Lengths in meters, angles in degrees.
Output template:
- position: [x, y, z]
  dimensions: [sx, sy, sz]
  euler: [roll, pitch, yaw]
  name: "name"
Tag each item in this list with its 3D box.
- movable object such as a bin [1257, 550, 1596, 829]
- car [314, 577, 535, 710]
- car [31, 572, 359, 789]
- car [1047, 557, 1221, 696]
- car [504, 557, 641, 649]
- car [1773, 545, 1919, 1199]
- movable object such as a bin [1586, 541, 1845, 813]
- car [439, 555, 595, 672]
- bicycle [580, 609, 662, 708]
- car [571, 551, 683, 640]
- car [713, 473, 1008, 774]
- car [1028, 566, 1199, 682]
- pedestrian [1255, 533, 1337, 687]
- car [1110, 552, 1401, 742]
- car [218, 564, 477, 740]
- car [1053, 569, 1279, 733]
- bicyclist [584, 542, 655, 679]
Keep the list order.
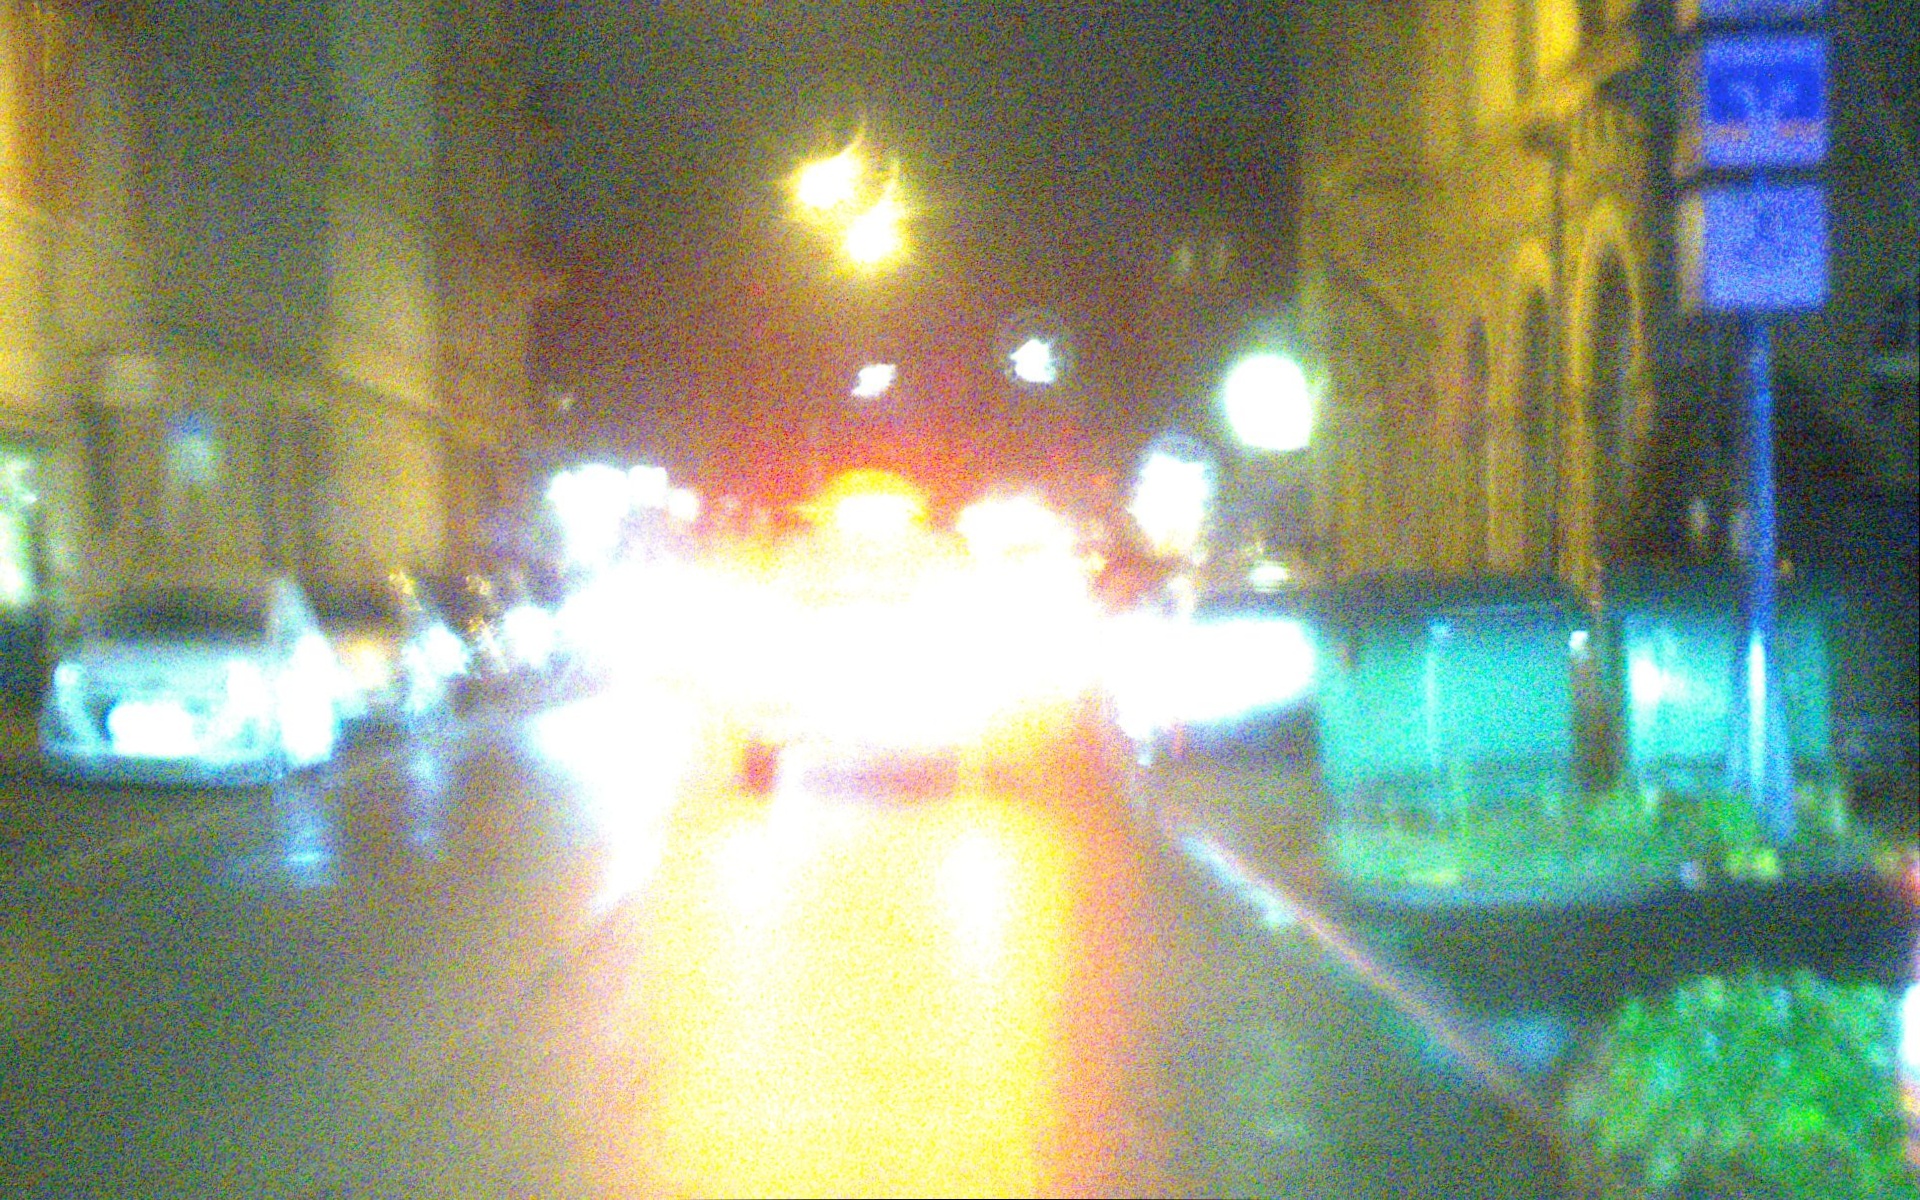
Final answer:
- position: [2.495, 0.447, 18.418]
  dimensions: [1.337, 1.424, 1.201]
  euler: [0, 1, -37]
  name: "movable object such as a bin"
- position: [-5.899, 0.440, 38.315]
  dimensions: [1.822, 1.385, 4.426]
  euler: [0, 1, -1]
  name: "car"
- position: [-5.689, 0.547, 25.981]
  dimensions: [1.672, 1.486, 3.722]
  euler: [1, 1, -1]
  name: "car"
- position: [1.928, 0.269, 39.105]
  dimensions: [1.689, 1.493, 3.891]
  euler: [0, 1, -1]
  name: "car"
- position: [-6.502, 0.029, 58.094]
  dimensions: [1.832, 1.481, 4.595]
  euler: [0, 1, -1]
  name: "car"
- position: [3.902, 0.589, 5.926]
  dimensions: [4.512, 1.525, 1.780]
  euler: [-3, 1, -1]
  name: "car"
- position: [4.075, 0.398, 18.650]
  dimensions: [1.309, 1.424, 1.050]
  euler: [0, 0, 9]
  name: "movable object such as a bin"
- position: [-6.215, 0.161, 48.563]
  dimensions: [1.745, 1.583, 3.766]
  euler: [0, 1, -1]
  name: "car"
- position: [-3.904, 0.658, 39.756]
  dimensions: [0.727, 1.069, 2.348]
  euler: [-1, 1, -1]
  name: "bicycle"
- position: [-6.620, -0.108, 68.765]
  dimensions: [1.832, 1.711, 4.595]
  euler: [0, 1, -1]
  name: "car"
- position: [-0.682, 0.128, 25.642]
  dimensions: [1.996, 2.042, 4.694]
  euler: [0, 1, 0]
  name: "car"
- position: [1.925, 0.271, 44.273]
  dimensions: [1.917, 1.407, 4.000]
  euler: [0, 1, -2]
  name: "car"
- position: [4.005, 0.109, 41.009]
  dimensions: [0.862, 1.782, 1.083]
  euler: [-2, 2, 3]
  name: "pedestrian"
- position: [2.373, 0.339, 28.727]
  dimensions: [1.993, 1.459, 4.417]
  euler: [0, 1, -1]
  name: "car"
- position: [-5.757, 0.446, 32.753]
  dimensions: [1.774, 1.567, 4.135]
  euler: [0, 1, -1]
  name: "car"
- position: [1.957, 0.455, 33.691]
  dimensions: [1.689, 1.493, 3.892]
  euler: [0, 1, -4]
  name: "car"
- position: [-3.934, 0.114, 39.747]
  dimensions: [0.718, 1.551, 0.895]
  euler: [-1, 0, -1]
  name: "bicyclist"
